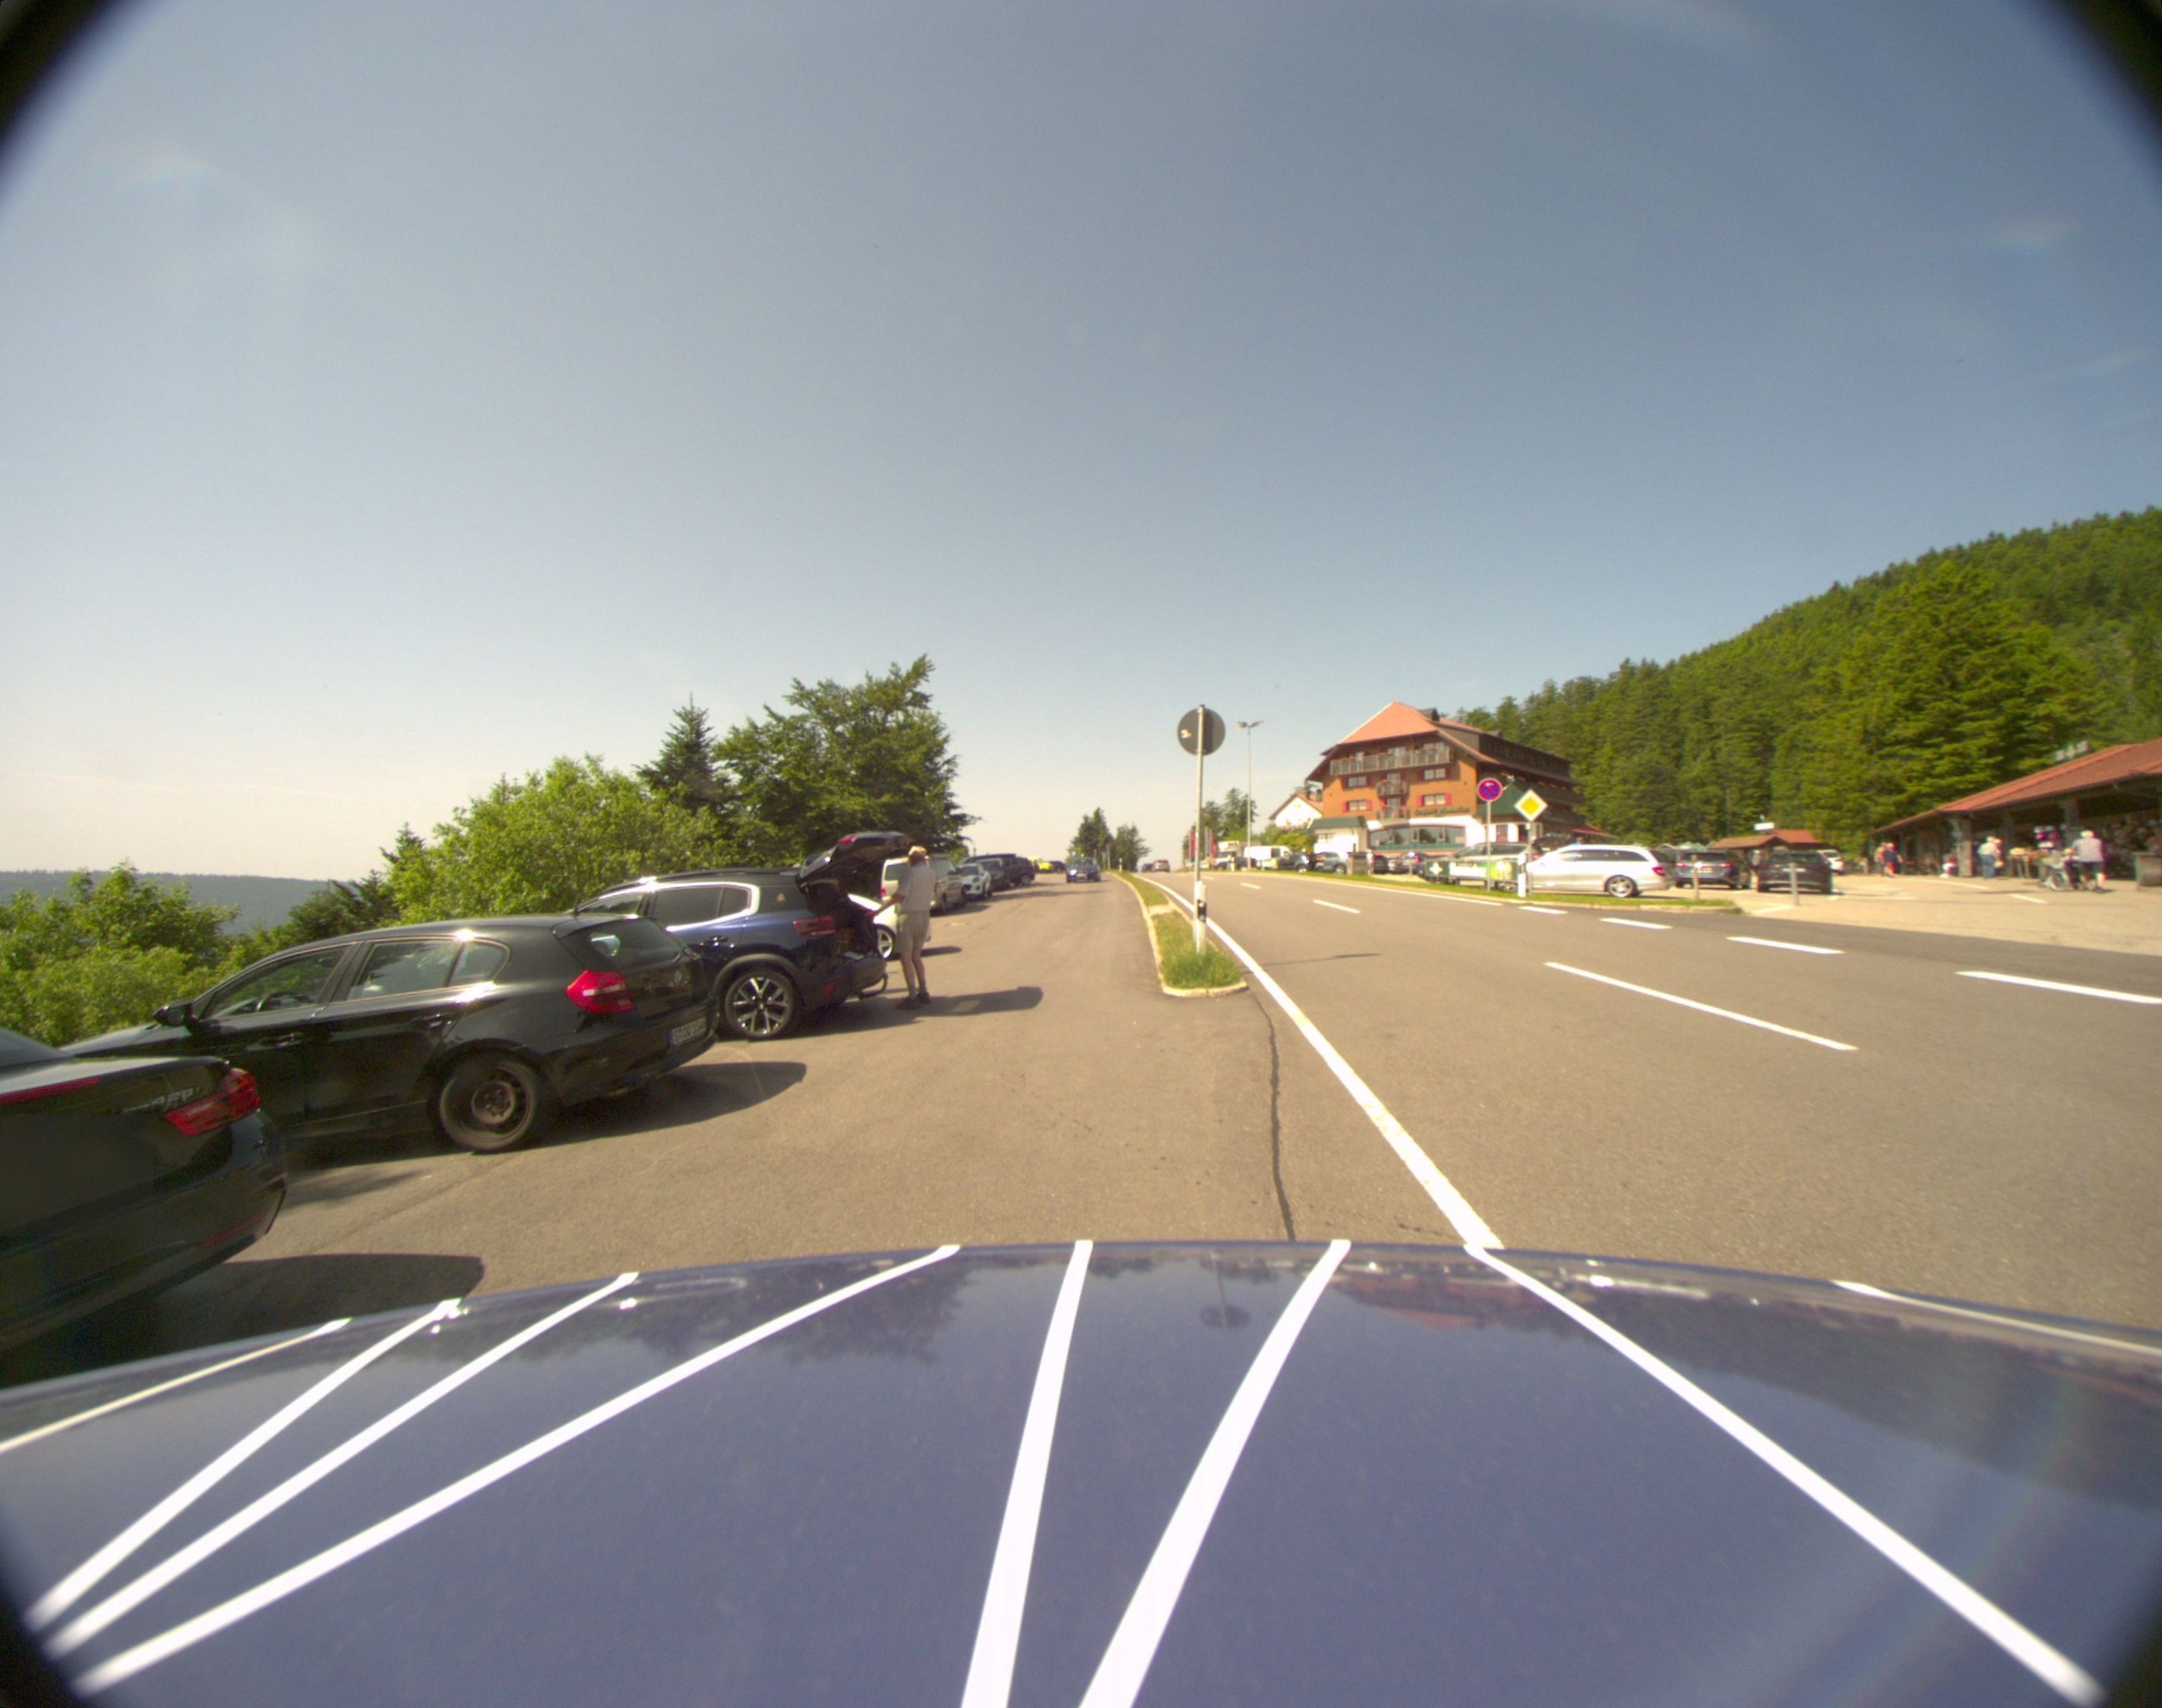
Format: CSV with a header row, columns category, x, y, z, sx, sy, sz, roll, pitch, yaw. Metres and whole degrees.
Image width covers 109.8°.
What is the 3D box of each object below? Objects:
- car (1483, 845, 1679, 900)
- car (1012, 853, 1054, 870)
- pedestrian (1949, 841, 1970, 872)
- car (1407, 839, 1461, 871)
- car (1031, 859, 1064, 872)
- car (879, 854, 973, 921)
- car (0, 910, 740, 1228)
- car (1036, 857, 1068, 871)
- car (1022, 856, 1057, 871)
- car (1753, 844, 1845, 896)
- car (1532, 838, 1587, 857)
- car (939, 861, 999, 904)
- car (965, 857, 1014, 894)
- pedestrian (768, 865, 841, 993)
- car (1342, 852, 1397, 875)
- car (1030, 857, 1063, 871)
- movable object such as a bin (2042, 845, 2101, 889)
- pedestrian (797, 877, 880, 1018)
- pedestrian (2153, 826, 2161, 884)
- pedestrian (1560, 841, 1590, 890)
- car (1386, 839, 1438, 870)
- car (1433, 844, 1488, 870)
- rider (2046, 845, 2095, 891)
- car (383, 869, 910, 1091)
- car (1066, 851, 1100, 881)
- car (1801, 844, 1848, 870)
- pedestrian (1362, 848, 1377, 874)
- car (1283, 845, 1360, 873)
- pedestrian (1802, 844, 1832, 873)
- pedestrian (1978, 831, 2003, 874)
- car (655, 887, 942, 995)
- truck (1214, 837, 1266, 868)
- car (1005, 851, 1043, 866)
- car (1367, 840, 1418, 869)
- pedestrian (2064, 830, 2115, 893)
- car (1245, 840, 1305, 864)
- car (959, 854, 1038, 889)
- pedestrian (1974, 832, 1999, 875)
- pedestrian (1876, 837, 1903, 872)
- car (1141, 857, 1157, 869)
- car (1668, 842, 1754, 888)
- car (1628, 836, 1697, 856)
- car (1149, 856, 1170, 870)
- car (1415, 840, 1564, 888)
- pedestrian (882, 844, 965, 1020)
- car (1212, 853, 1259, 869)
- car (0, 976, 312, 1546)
category,x,y,z,sx,sy,sz,roll,pitch,yaw
car,14.272,0.484,21.849,4.489,1.422,1.725,0,1,43
car,-5.453,0.853,86.714,4.456,1.914,1.877,-1,1,3
pedestrian,39.737,0.114,34.370,0.544,1.423,0.474,-1,1,43
car,23.648,0.053,50.851,4.008,2.002,1.994,-2,1,-44
car,-4.162,1.455,95.688,3.909,1.605,1.877,-1,0,3
car,-5.203,1.069,26.125,1.861,1.924,4.610,-5,0,4
car,-4.765,1.286,5.090,4.092,1.368,1.702,-4,0,-2
car,-3.747,1.295,99.255,3.909,1.605,1.877,-1,0,3
car,-4.912,1.114,90.316,3.909,1.605,1.877,-1,0,3
car,24.127,0.452,25.495,4.008,1.521,1.994,-2,3,-44
car,44.941,-0.632,71.449,4.083,1.706,1.924,0,1,45
car,-4.716,1.170,32.463,1.875,1.538,3.999,-5,0,0
car,-4.594,1.041,38.676,1.875,1.609,3.999,-5,0,0
pedestrian,-4.120,1.089,11.395,0.736,1.790,0.748,-4,1,-6
car,19.686,0.619,52.029,1.722,1.422,3.996,-1,0,-10
car,-4.188,1.155,92.816,3.909,1.605,1.877,-1,0,3
movable object such as a bin,28.225,0.354,21.653,1.219,1.182,0.981,-2,1,-36
pedestrian,-2.932,1.115,9.249,0.716,1.604,0.536,-4,1,-1
pedestrian,32.767,0.027,22.700,0.672,1.727,0.555,-2,1,-2
pedestrian,16.958,0.384,26.082,0.744,1.626,0.849,-1,1,41
car,23.309,0.033,53.457,4.008,2.002,1.994,-2,1,-44
car,23.993,0.172,47.962,4.103,1.504,1.819,-1,1,-44
rider,28.260,0.389,21.698,0.911,1.267,0.837,-2,1,-36
car,-4.276,1.204,8.004,4.354,1.617,1.870,-6,1,2
car,0.140,0.638,43.751,1.875,1.605,3.913,-1,0,1
car,48.625,0.180,49.678,4.008,1.521,1.994,-2,3,-44
pedestrian,18.250,0.440,48.065,0.744,1.615,0.684,-1,1,30
car,15.079,0.305,47.730,4.259,1.619,1.828,0,1,43
pedestrian,42.372,0.243,43.752,0.931,1.646,0.881,-2,1,20
pedestrian,35.549,-0.062,29.688,0.506,1.646,0.472,-1,1,35
car,-4.849,1.450,13.532,4.414,1.288,1.754,-5,0,-17
truck,21.113,-0.266,100.500,2.876,3.798,9.035,-3,-1,38
car,-6.292,0.502,84.147,3.909,1.605,1.877,-1,0,3
car,23.082,0.006,56.250,4.008,2.002,1.994,-2,1,-44
pedestrian,27.546,0.194,20.756,0.805,1.689,0.837,-2,1,-36
car,23.809,-0.213,93.203,6.950,2.774,2.670,-1,1,19
car,-4.660,0.968,42.965,4.002,1.609,1.874,-5,1,-19
pedestrian,34.953,-0.016,29.331,0.506,1.646,0.472,-1,1,35
pedestrian,38.507,0.023,36.193,0.782,1.646,0.881,-1,1,39
car,10.027,1.303,112.971,1.998,1.637,4.567,-1,0,1
car,23.497,0.345,28.291,4.008,1.521,1.994,-2,3,-44
car,53.365,-0.722,69.806,4.832,1.706,1.924,0,1,45
car,8.796,0.964,85.205,1.884,1.466,4.714,-3,0,1
car,14.917,0.348,27.886,4.539,1.646,1.725,0,1,42
pedestrian,-1.765,0.853,8.631,0.737,1.859,0.758,-4,-2,-6
car,15.083,0.718,74.345,4.083,1.518,1.828,0,1,40
car,-4.929,1.291,1.967,4.091,1.368,1.702,-4,0,1
